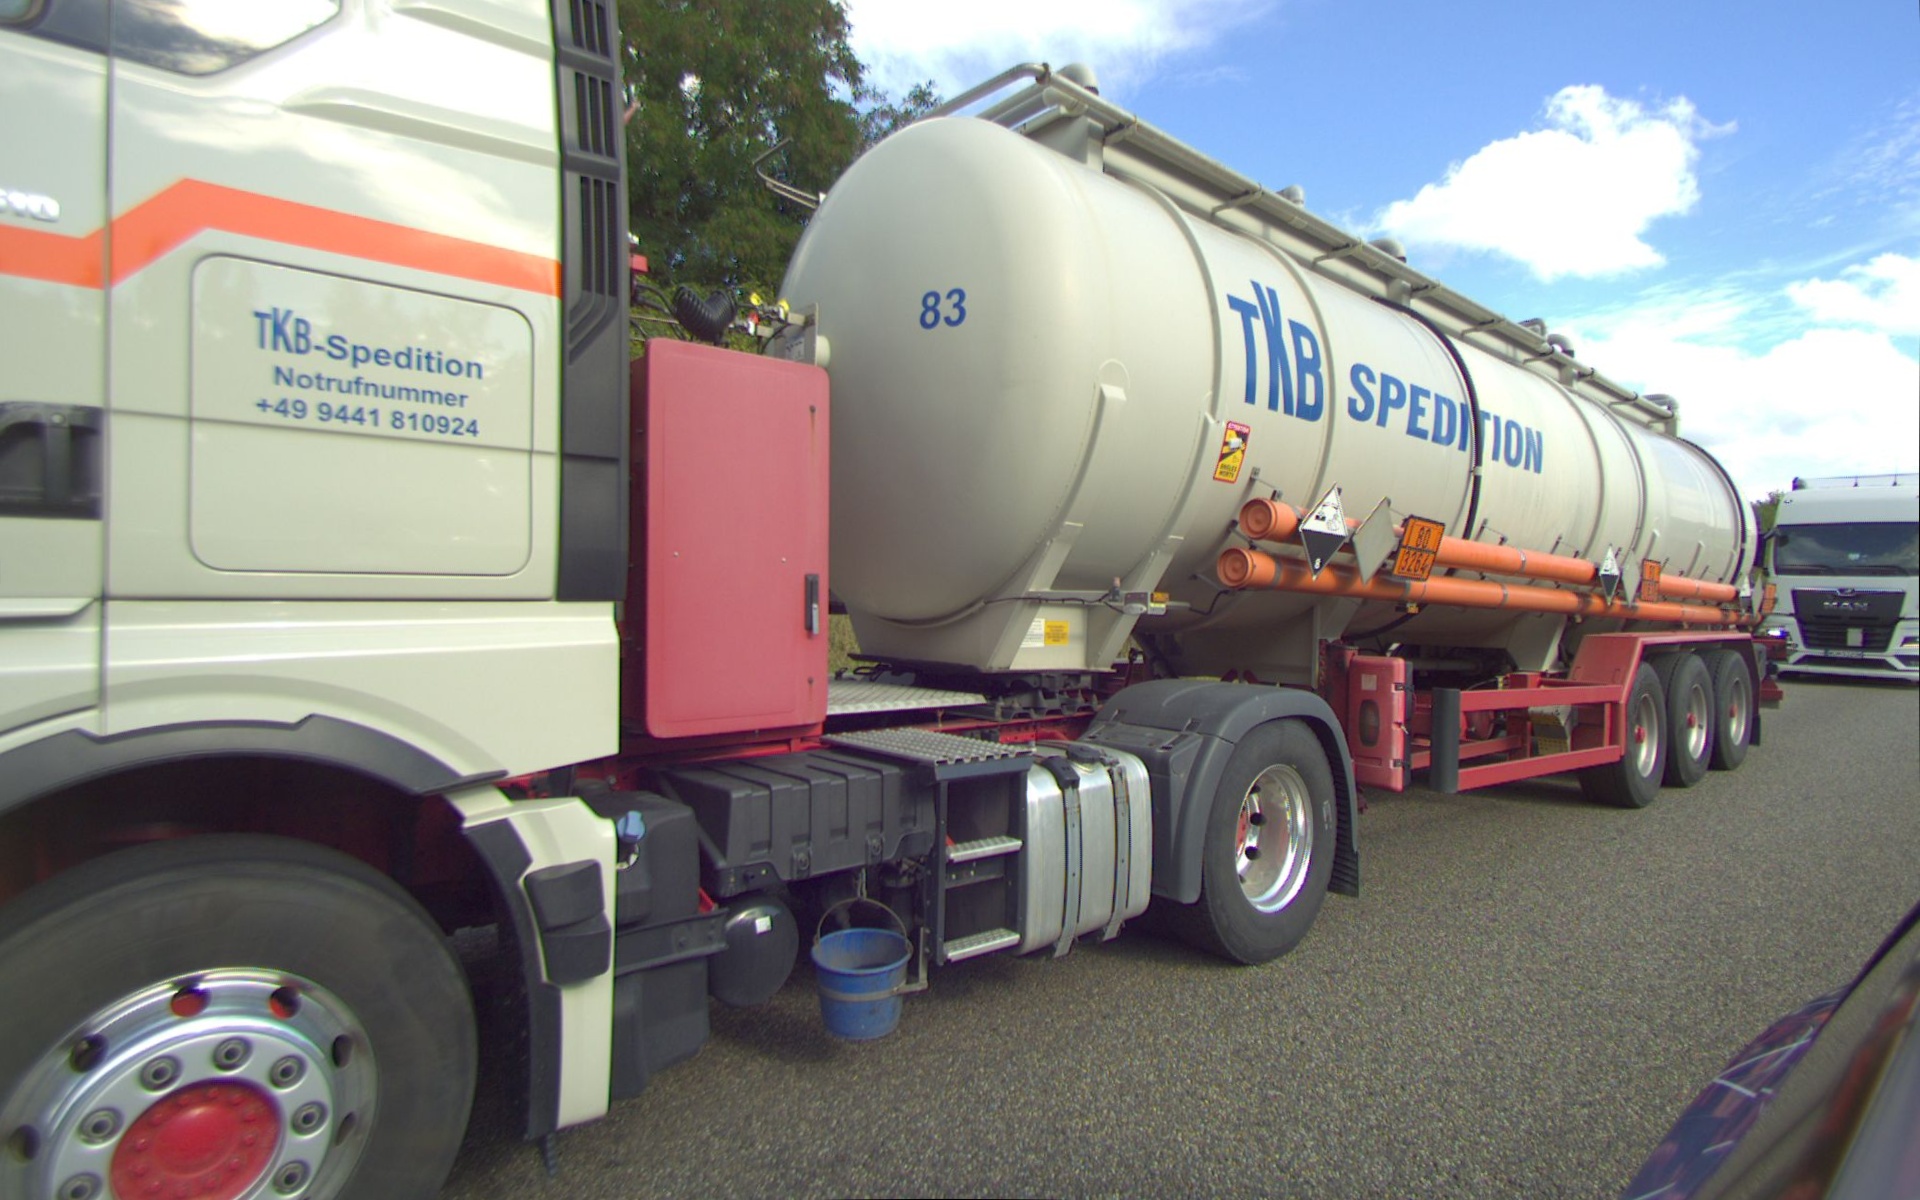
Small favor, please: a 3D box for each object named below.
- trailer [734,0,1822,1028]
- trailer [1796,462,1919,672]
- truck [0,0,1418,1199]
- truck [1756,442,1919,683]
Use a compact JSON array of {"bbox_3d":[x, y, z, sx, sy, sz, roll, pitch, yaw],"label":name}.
[{"bbox_3d":[3.849,-0.676,7.959,10.985,4.077,2.803,0,0,-41],"label":"trailer"},{"bbox_3d":[23.510,-0.674,24.523,13.136,4.122,2.831,0,0,-41],"label":"trailer"},{"bbox_3d":[-1.033,-0.689,3.759,5.800,4.094,2.808,0,0,-41],"label":"truck"},{"bbox_3d":[18.038,-0.656,19.804,5.607,4.123,2.839,0,0,-41],"label":"truck"}]
